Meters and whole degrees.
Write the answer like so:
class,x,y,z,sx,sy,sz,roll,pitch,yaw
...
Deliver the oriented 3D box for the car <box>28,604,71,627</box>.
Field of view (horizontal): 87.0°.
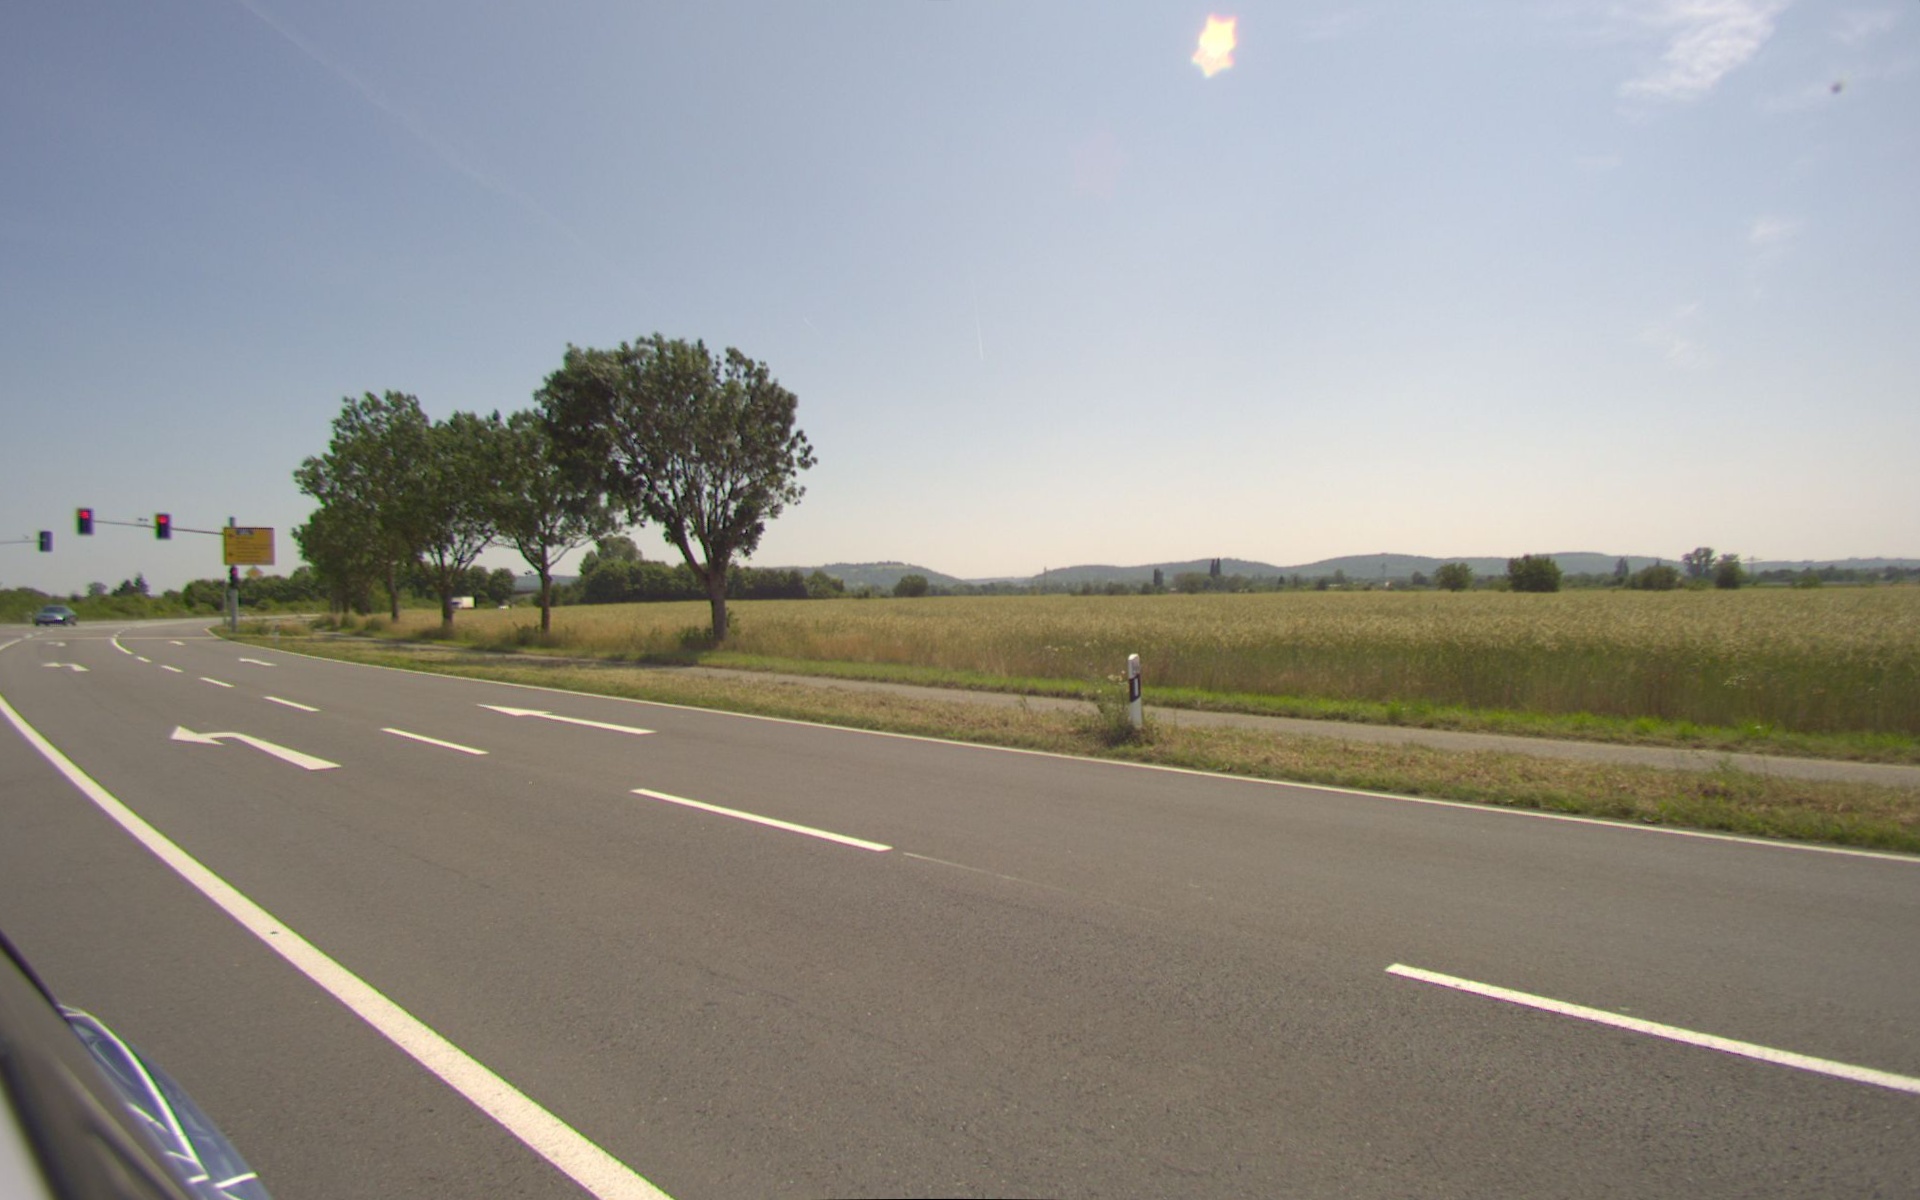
class,x,y,z,sx,sy,sz,roll,pitch,yaw
car,-65.369,1.137,72.715,1.630,1.578,4.011,0,-1,-32
